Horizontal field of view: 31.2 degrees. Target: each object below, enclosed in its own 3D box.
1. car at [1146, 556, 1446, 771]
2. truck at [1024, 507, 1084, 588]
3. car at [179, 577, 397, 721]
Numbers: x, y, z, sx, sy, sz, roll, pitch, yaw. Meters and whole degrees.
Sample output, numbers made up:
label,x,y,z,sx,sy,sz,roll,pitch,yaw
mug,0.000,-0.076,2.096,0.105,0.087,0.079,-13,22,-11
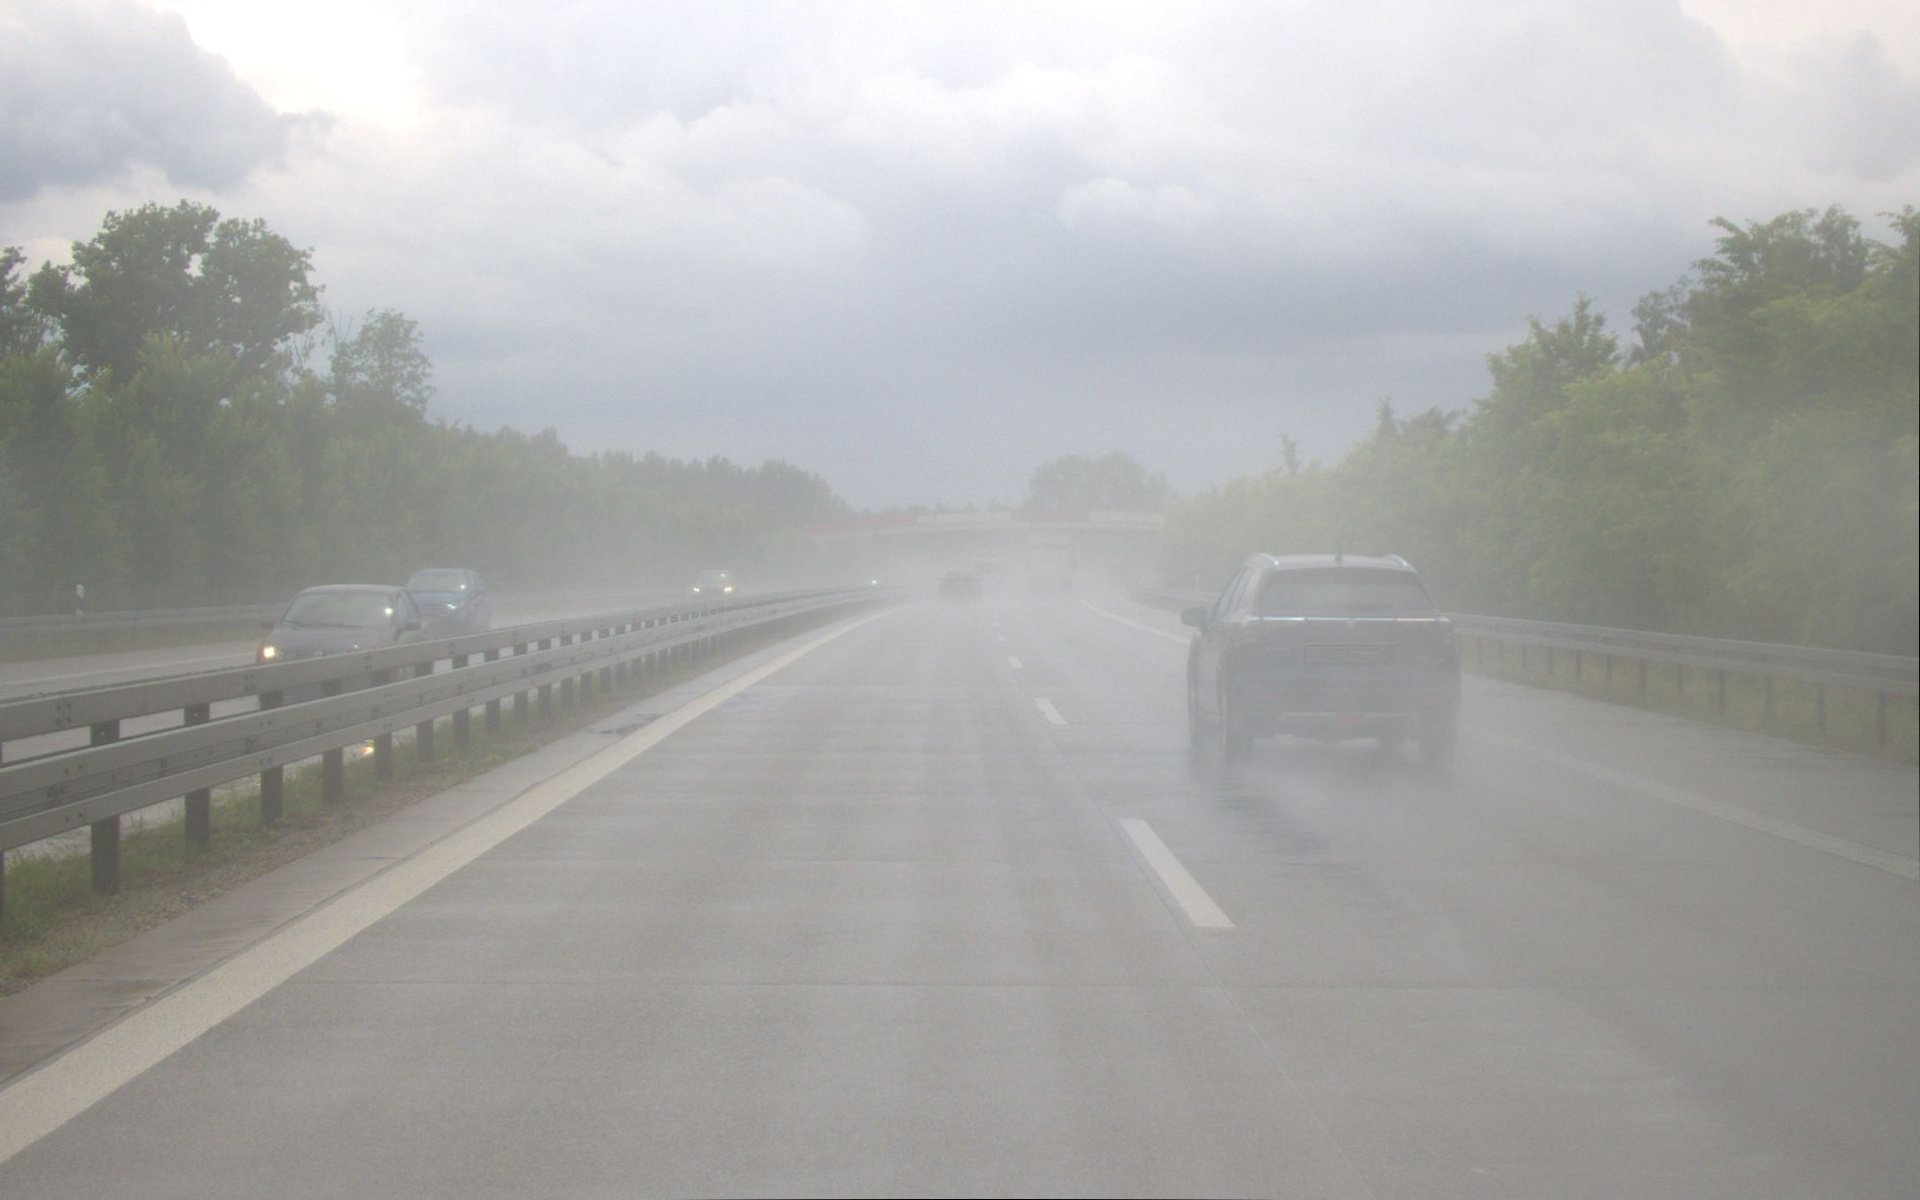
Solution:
label,x,y,z,sx,sy,sz,roll,pitch,yaw
car,2.586,0.470,27.240,1.894,1.571,3.632,1,0,-2
truck,5.348,-2.916,193.783,3.244,4.422,8.245,0,0,2
car,-8.439,0.578,43.503,1.993,1.598,4.000,-2,1,-1
